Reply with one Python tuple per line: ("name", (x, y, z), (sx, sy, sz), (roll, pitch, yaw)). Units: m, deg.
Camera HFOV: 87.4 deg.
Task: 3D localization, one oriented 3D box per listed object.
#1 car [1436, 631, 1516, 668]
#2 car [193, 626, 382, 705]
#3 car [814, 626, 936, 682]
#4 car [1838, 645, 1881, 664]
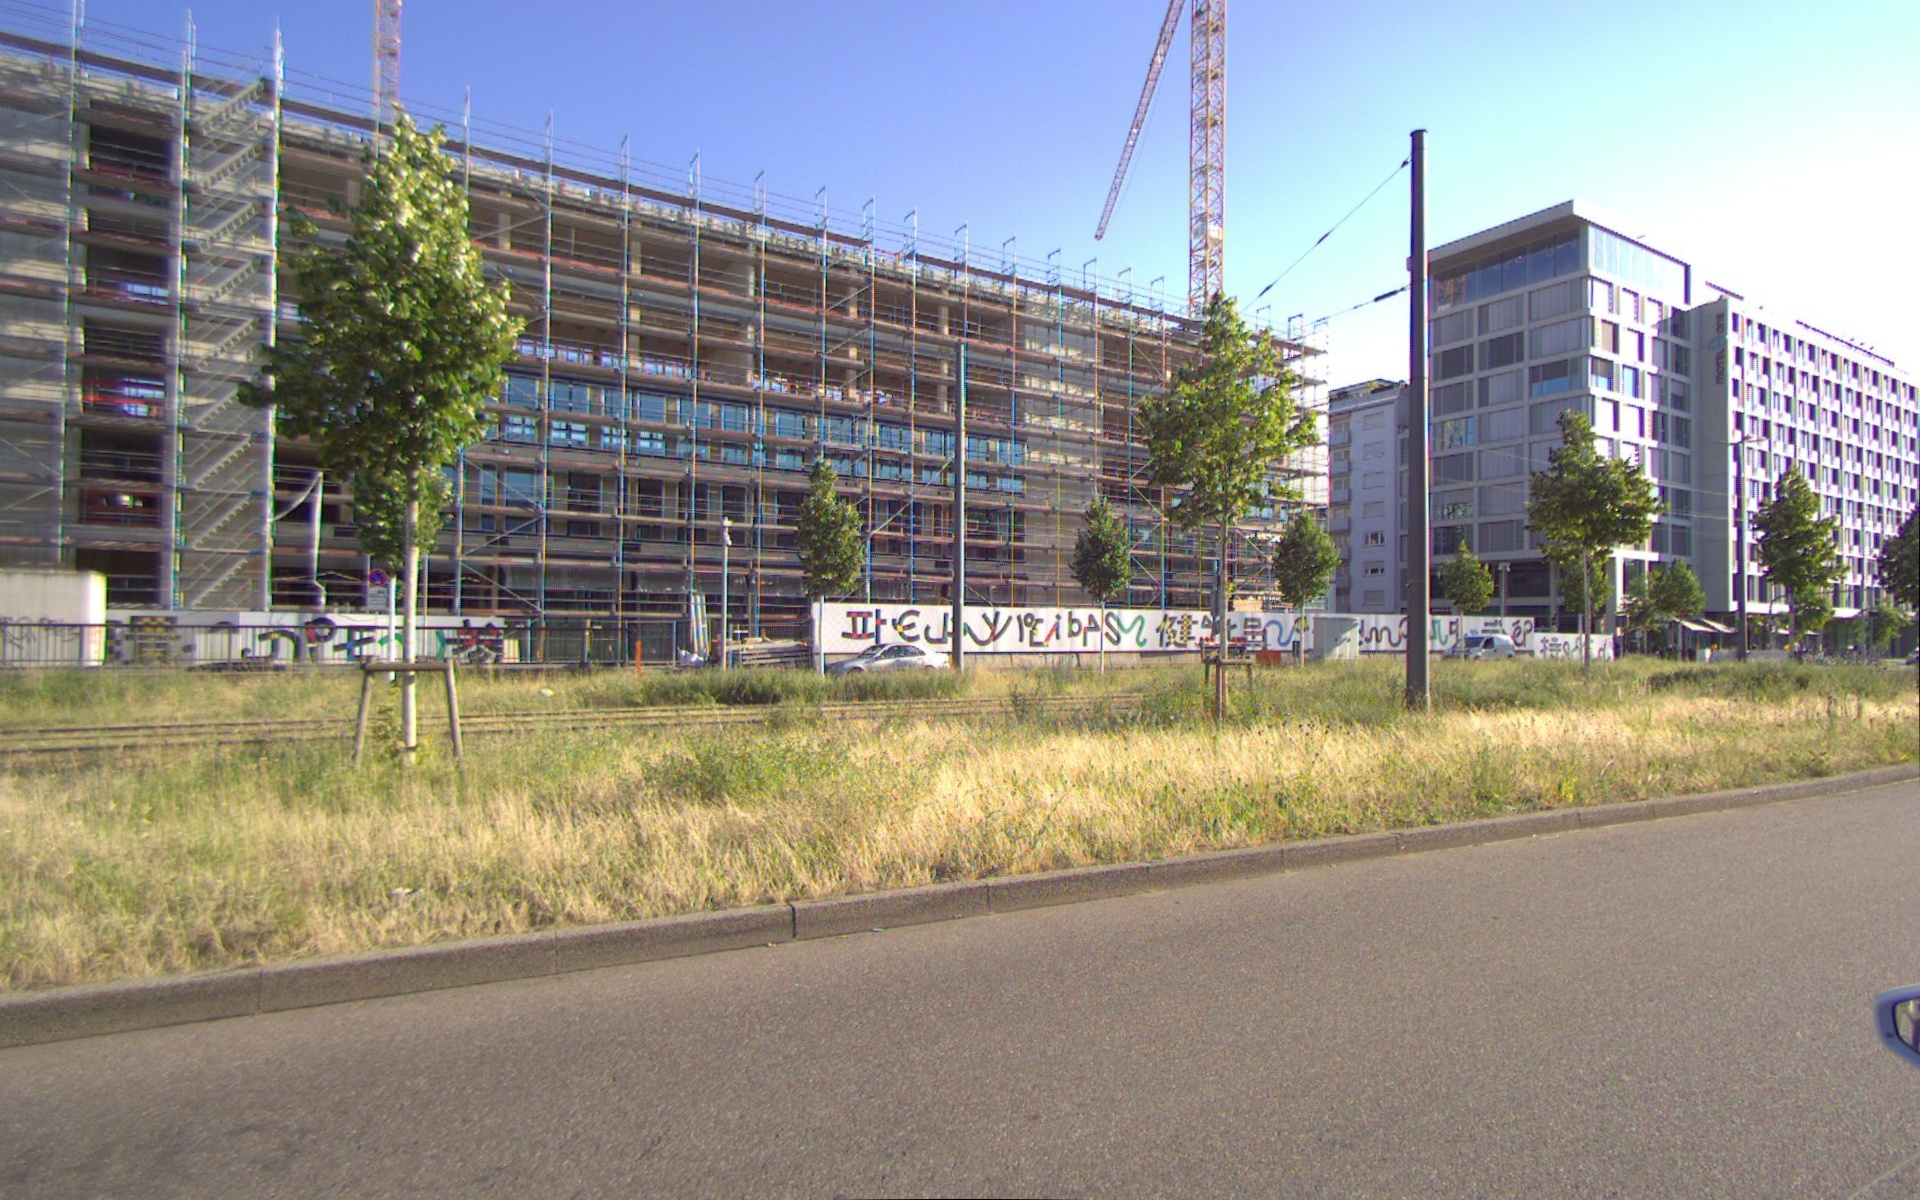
("car", (25.731, 2.472, 50.096), (3.591, 1.706, 1.784), (2, 0, -26))
("car", (-15.976, 1.543, 24.102), (3.596, 1.706, 1.781), (2, 0, -30))
("car", (-2.803, 1.778, 33.194), (3.596, 1.706, 1.781), (2, 0, -30))
("car", (74.885, 4.572, 83.646), (3.542, 1.461, 1.699), (2, 0, -32))
